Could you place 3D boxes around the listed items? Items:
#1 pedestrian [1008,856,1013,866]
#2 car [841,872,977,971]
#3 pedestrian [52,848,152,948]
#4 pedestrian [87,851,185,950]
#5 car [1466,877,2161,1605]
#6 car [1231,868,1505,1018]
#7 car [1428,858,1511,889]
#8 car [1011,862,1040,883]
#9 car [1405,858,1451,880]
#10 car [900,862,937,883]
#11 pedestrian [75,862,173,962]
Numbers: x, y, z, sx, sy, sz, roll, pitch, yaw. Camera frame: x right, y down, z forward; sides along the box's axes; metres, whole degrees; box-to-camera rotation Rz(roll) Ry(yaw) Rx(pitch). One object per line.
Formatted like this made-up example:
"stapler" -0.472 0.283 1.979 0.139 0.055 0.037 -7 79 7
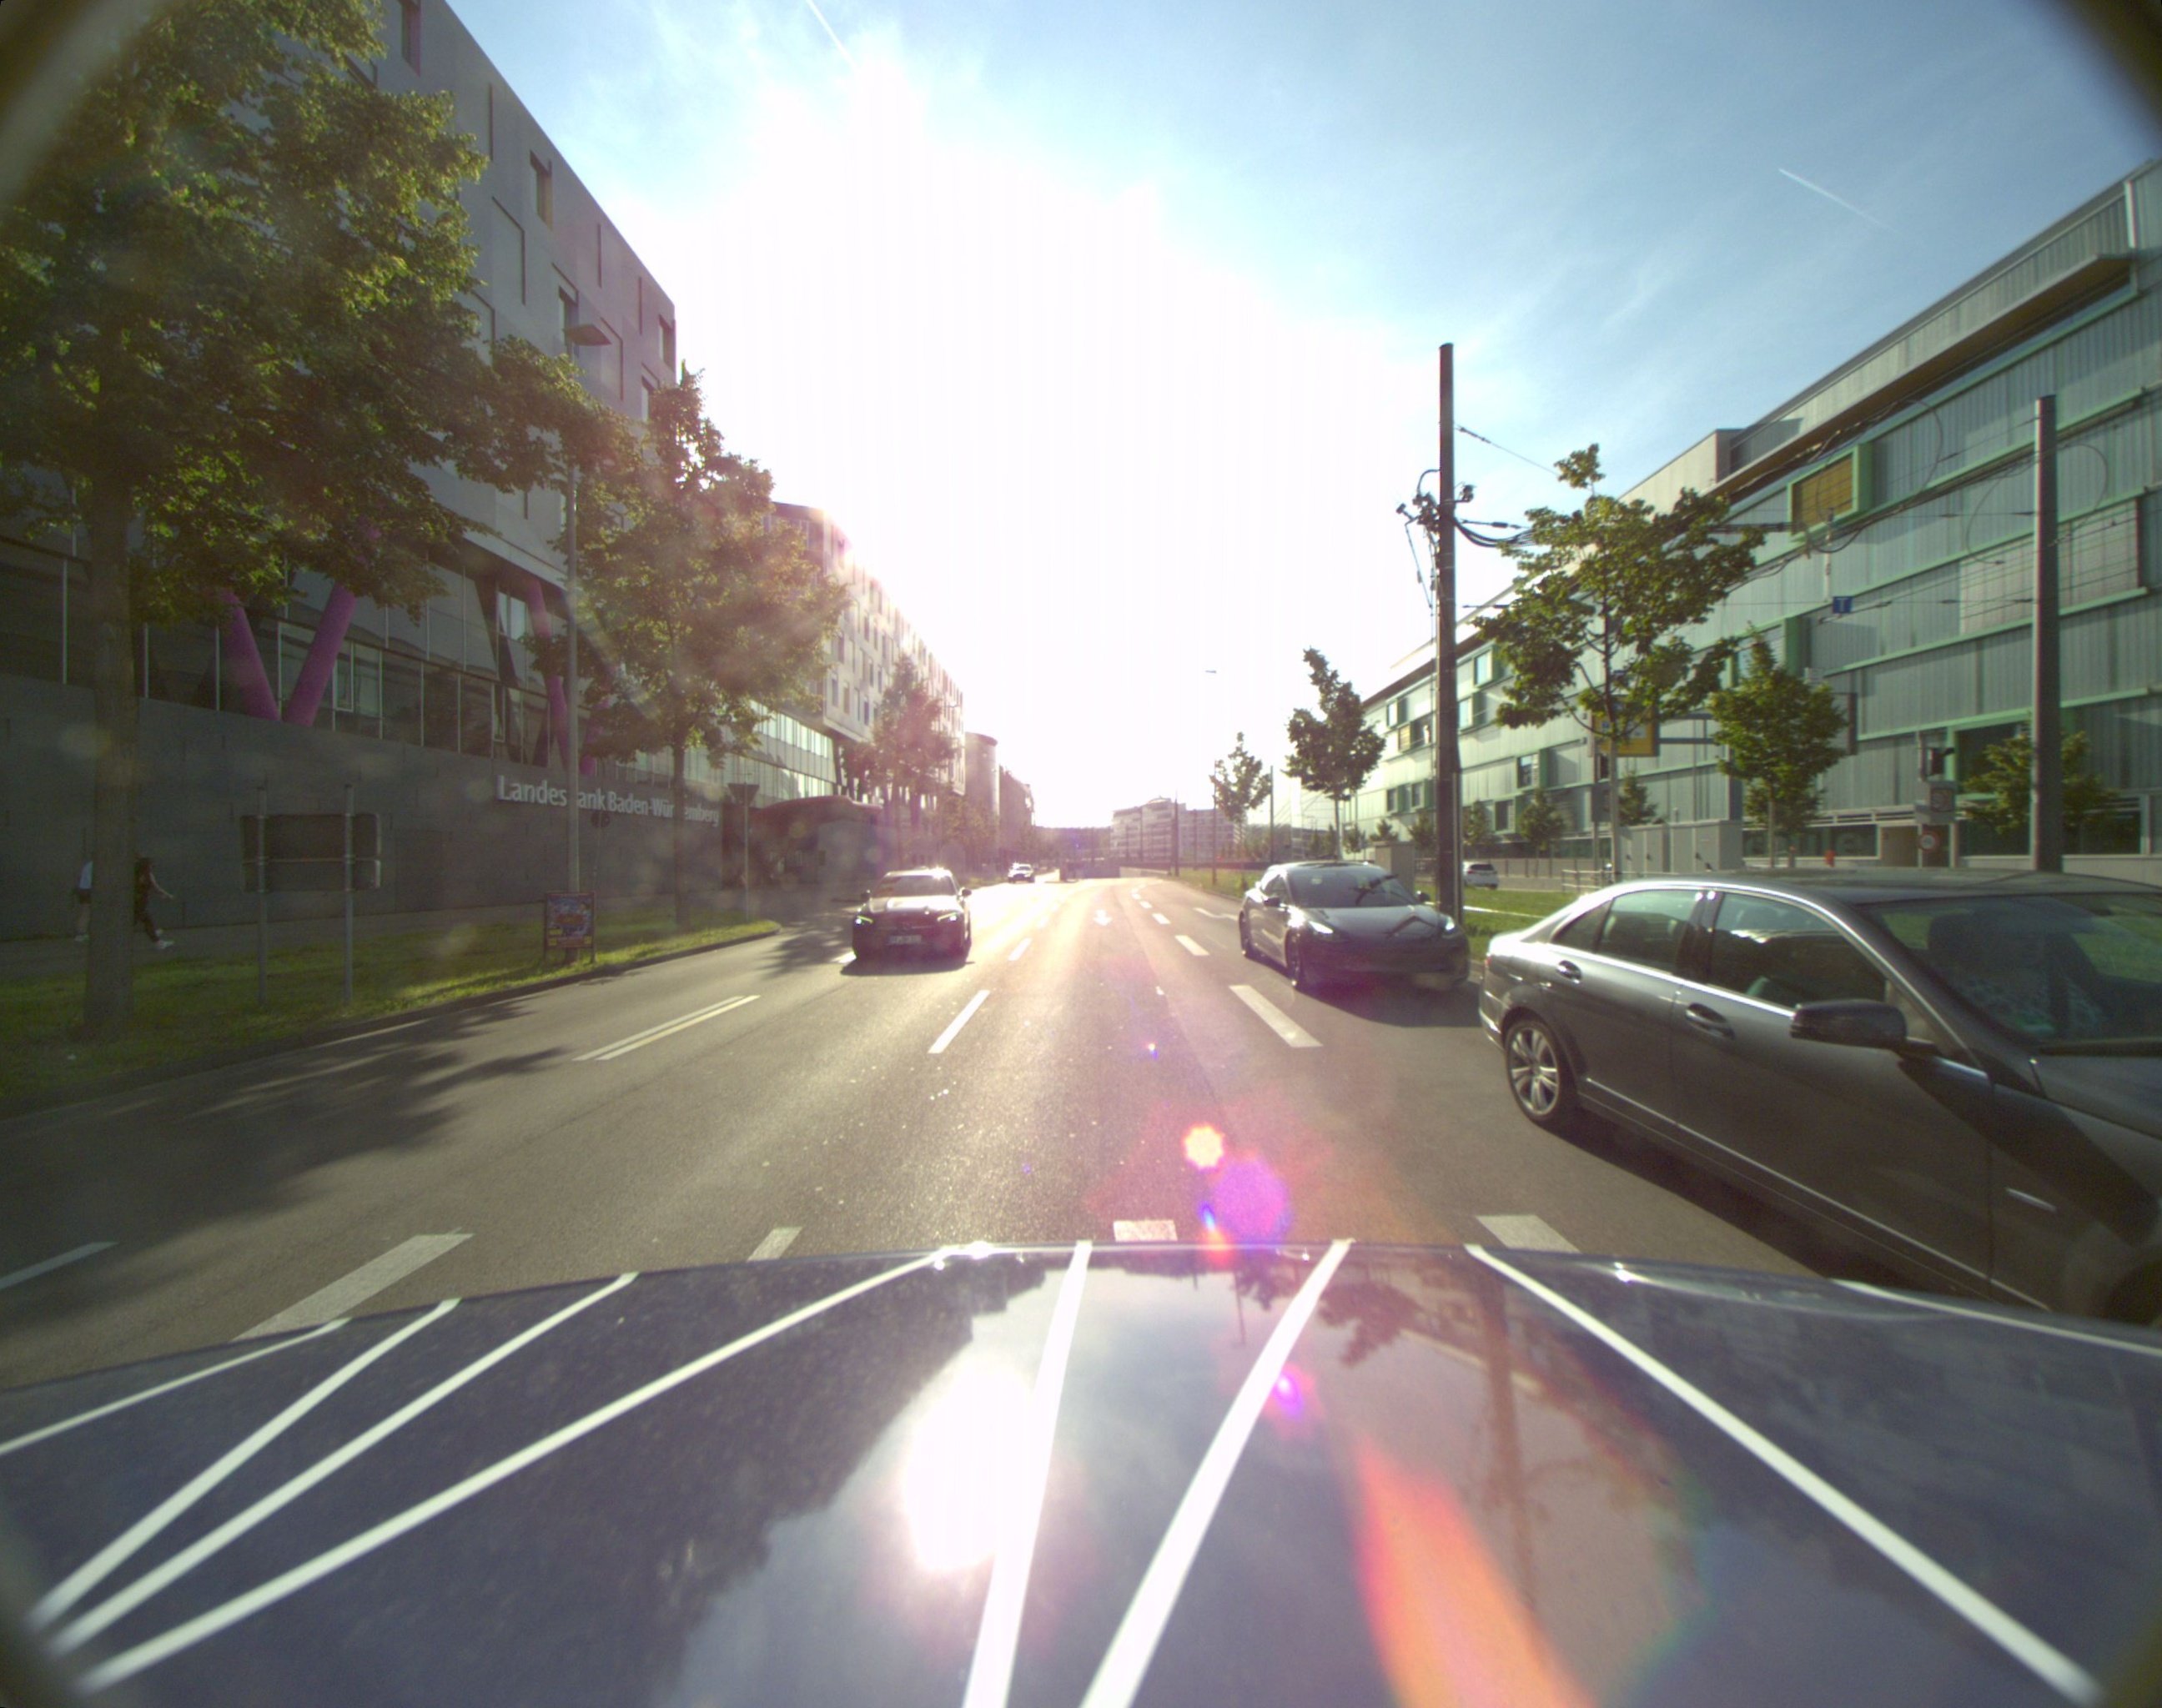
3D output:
"pedestrian" -12.512 1.182 134.837 0.725 1.776 0.772 0 0 0
"car" -3.009 1.112 14.203 1.844 1.441 4.554 -2 -1 -5
"pedestrian" -18.459 0.807 14.347 0.770 1.814 0.853 1 0 0
"pedestrian" -17.753 0.849 14.290 0.756 1.783 0.844 1 0 0
"car" 3.272 0.894 2.559 1.791 1.470 4.354 -2 -1 1
"car" 3.263 0.923 9.692 1.894 1.377 4.335 -2 -1 1
"car" 20.418 1.007 40.120 1.999 1.519 4.311 0 0 -3
"car" -4.383 1.427 60.289 1.894 1.418 4.471 -1 2 1
"car" 28.119 1.192 61.741 1.913 1.625 4.180 -1 0 2
"car" -11.269 1.265 52.959 1.696 1.382 4.199 0 -1 0
"pedestrian" -16.060 0.946 12.770 0.695 1.629 0.737 0 0 0
